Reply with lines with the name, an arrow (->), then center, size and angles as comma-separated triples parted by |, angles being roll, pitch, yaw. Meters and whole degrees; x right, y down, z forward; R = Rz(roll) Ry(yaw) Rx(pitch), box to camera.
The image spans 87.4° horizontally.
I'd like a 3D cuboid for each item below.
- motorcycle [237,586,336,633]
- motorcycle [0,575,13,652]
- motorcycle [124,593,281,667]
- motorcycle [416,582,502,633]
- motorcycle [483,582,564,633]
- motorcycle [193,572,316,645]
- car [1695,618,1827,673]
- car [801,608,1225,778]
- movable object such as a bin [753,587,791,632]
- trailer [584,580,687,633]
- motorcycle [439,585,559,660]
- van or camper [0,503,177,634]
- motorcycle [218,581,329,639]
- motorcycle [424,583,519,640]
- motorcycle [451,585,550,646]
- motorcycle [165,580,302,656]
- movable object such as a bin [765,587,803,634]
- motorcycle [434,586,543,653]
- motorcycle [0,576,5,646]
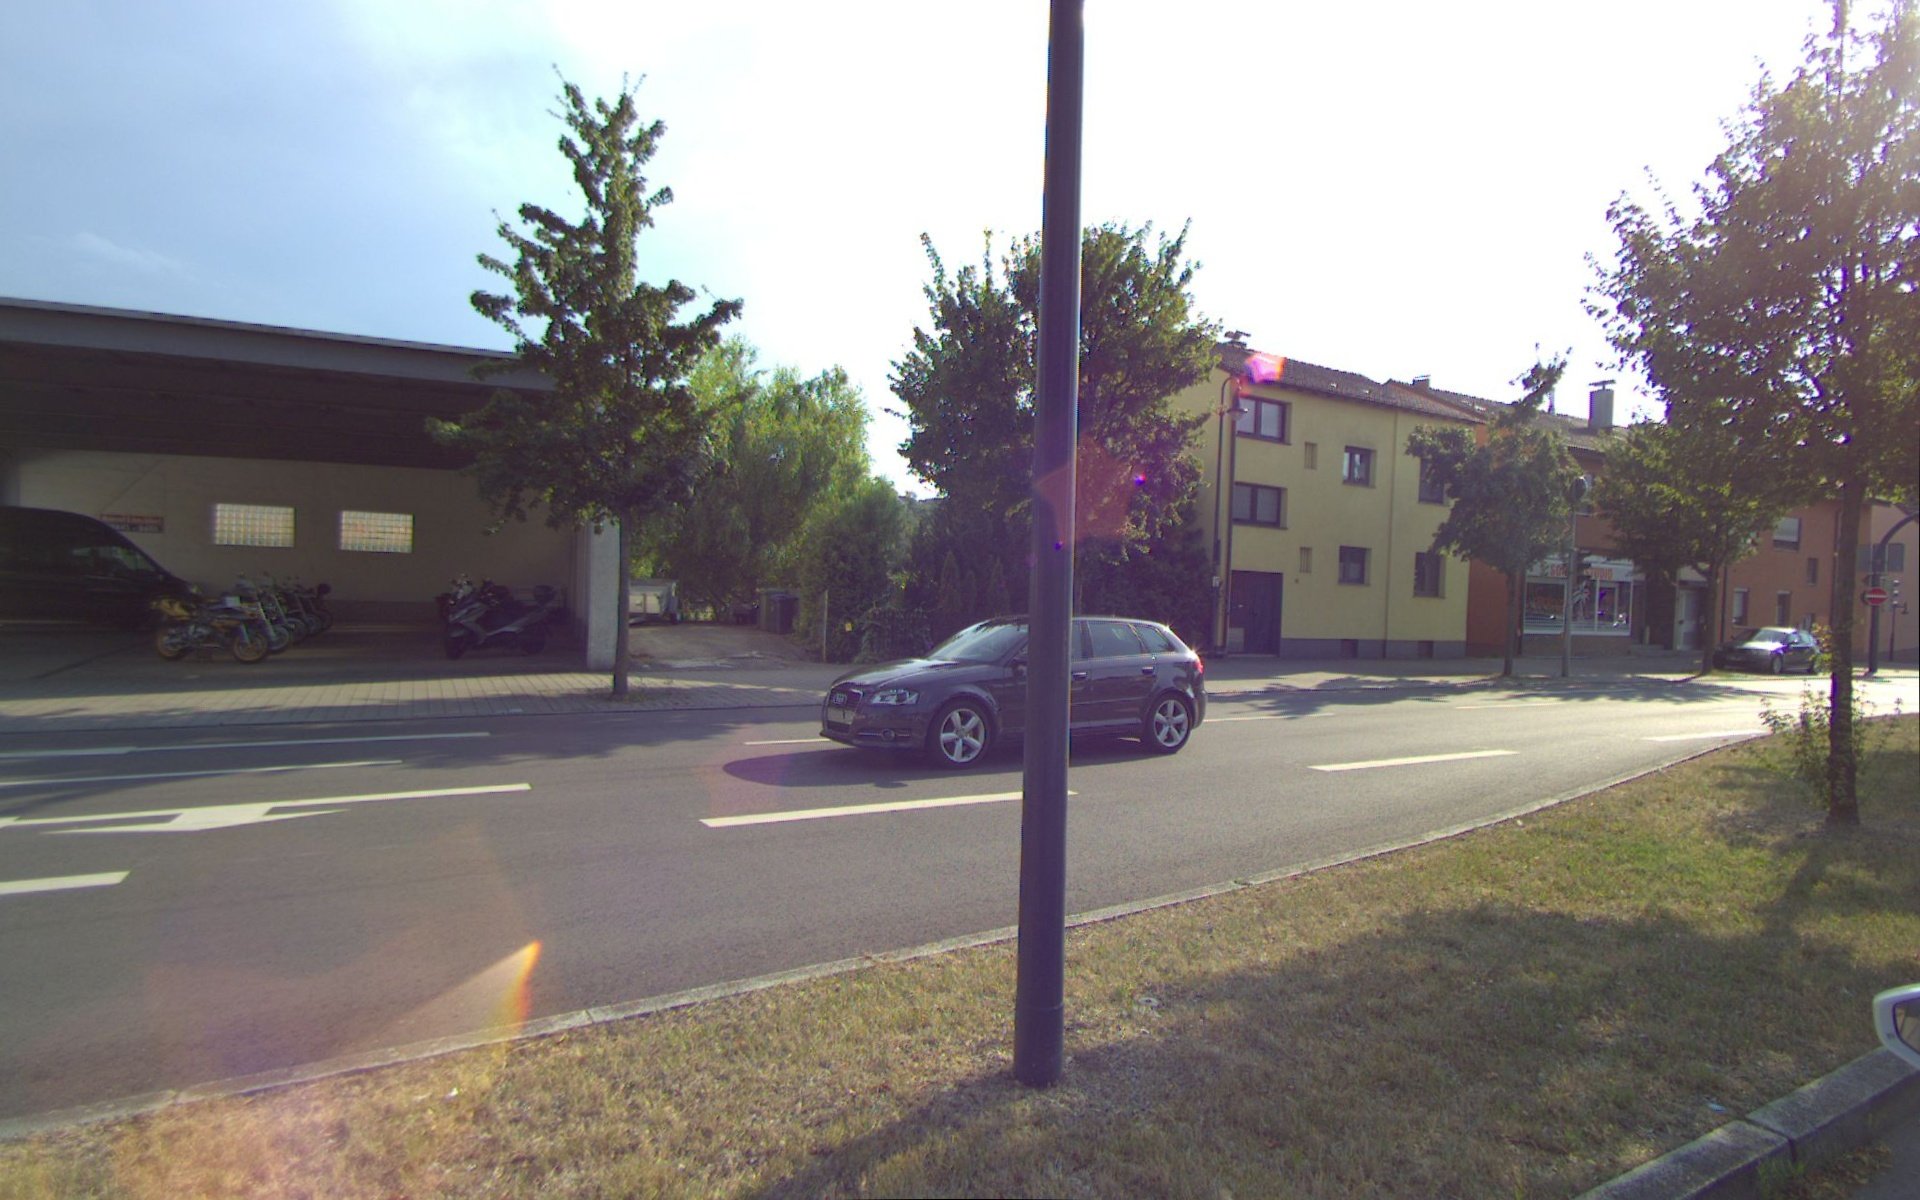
motorcycle -> -17.084, 0.237, 25.487 | 2.111, 1.138, 0.563 | 1, 0, 0
motorcycle -> -17.249, 0.223, 16.760 | 0.637, 1.329, 2.007 | 1, 0, 23
motorcycle -> -12.514, 0.490, 16.627 | 2.111, 1.139, 0.631 | 1, 0, 0
motorcycle -> -13.517, 0.206, 27.158 | 0.553, 1.325, 2.086 | 1, 0, 30
motorcycle -> -11.884, 0.210, 27.392 | 0.553, 1.325, 2.086 | 1, 0, 30
motorcycle -> -14.741, 0.177, 21.011 | 2.111, 1.468, 0.594 | 1, 0, 0
car -> 25.948, 1.456, 32.549 | 3.949, 1.573, 1.836 | 1, 2, -27
car -> 0.631, 0.832, 10.265 | 4.143, 1.405, 1.636 | 1, 0, -32
movable object such as a bin -> -4.783, 0.237, 25.570 | 0.712, 1.101, 0.727 | 1, 3, -30
trailer -> -8.080, 0.120, 25.326 | 1.692, 1.199, 3.594 | 1, 1, -5
motorcycle -> -8.633, 0.419, 18.914 | 0.553, 1.325, 2.112 | 1, 0, 30
van or camper -> -20.504, -0.673, 21.909 | 1.963, 2.716, 5.033 | 1, 0, 26
motorcycle -> -15.839, 0.235, 23.208 | 2.111, 1.275, 0.647 | 1, 0, 0
motorcycle -> -11.849, 0.286, 24.435 | 0.573, 1.325, 2.086 | 1, 0, 30
motorcycle -> -10.500, 0.343, 23.045 | 0.612, 1.325, 2.086 | 1, 0, 30
motorcycle -> -13.535, 0.326, 18.740 | 2.111, 1.347, 0.563 | 1, 0, 0
movable object such as a bin -> -4.348, 0.266, 24.808 | 0.688, 1.101, 0.727 | 1, 3, -30
motorcycle -> -9.713, 0.394, 20.793 | 0.553, 1.325, 2.086 | 1, 0, 30
motorcycle -> -18.644, 0.190, 18.088 | 0.637, 1.329, 2.007 | 1, 0, 23
